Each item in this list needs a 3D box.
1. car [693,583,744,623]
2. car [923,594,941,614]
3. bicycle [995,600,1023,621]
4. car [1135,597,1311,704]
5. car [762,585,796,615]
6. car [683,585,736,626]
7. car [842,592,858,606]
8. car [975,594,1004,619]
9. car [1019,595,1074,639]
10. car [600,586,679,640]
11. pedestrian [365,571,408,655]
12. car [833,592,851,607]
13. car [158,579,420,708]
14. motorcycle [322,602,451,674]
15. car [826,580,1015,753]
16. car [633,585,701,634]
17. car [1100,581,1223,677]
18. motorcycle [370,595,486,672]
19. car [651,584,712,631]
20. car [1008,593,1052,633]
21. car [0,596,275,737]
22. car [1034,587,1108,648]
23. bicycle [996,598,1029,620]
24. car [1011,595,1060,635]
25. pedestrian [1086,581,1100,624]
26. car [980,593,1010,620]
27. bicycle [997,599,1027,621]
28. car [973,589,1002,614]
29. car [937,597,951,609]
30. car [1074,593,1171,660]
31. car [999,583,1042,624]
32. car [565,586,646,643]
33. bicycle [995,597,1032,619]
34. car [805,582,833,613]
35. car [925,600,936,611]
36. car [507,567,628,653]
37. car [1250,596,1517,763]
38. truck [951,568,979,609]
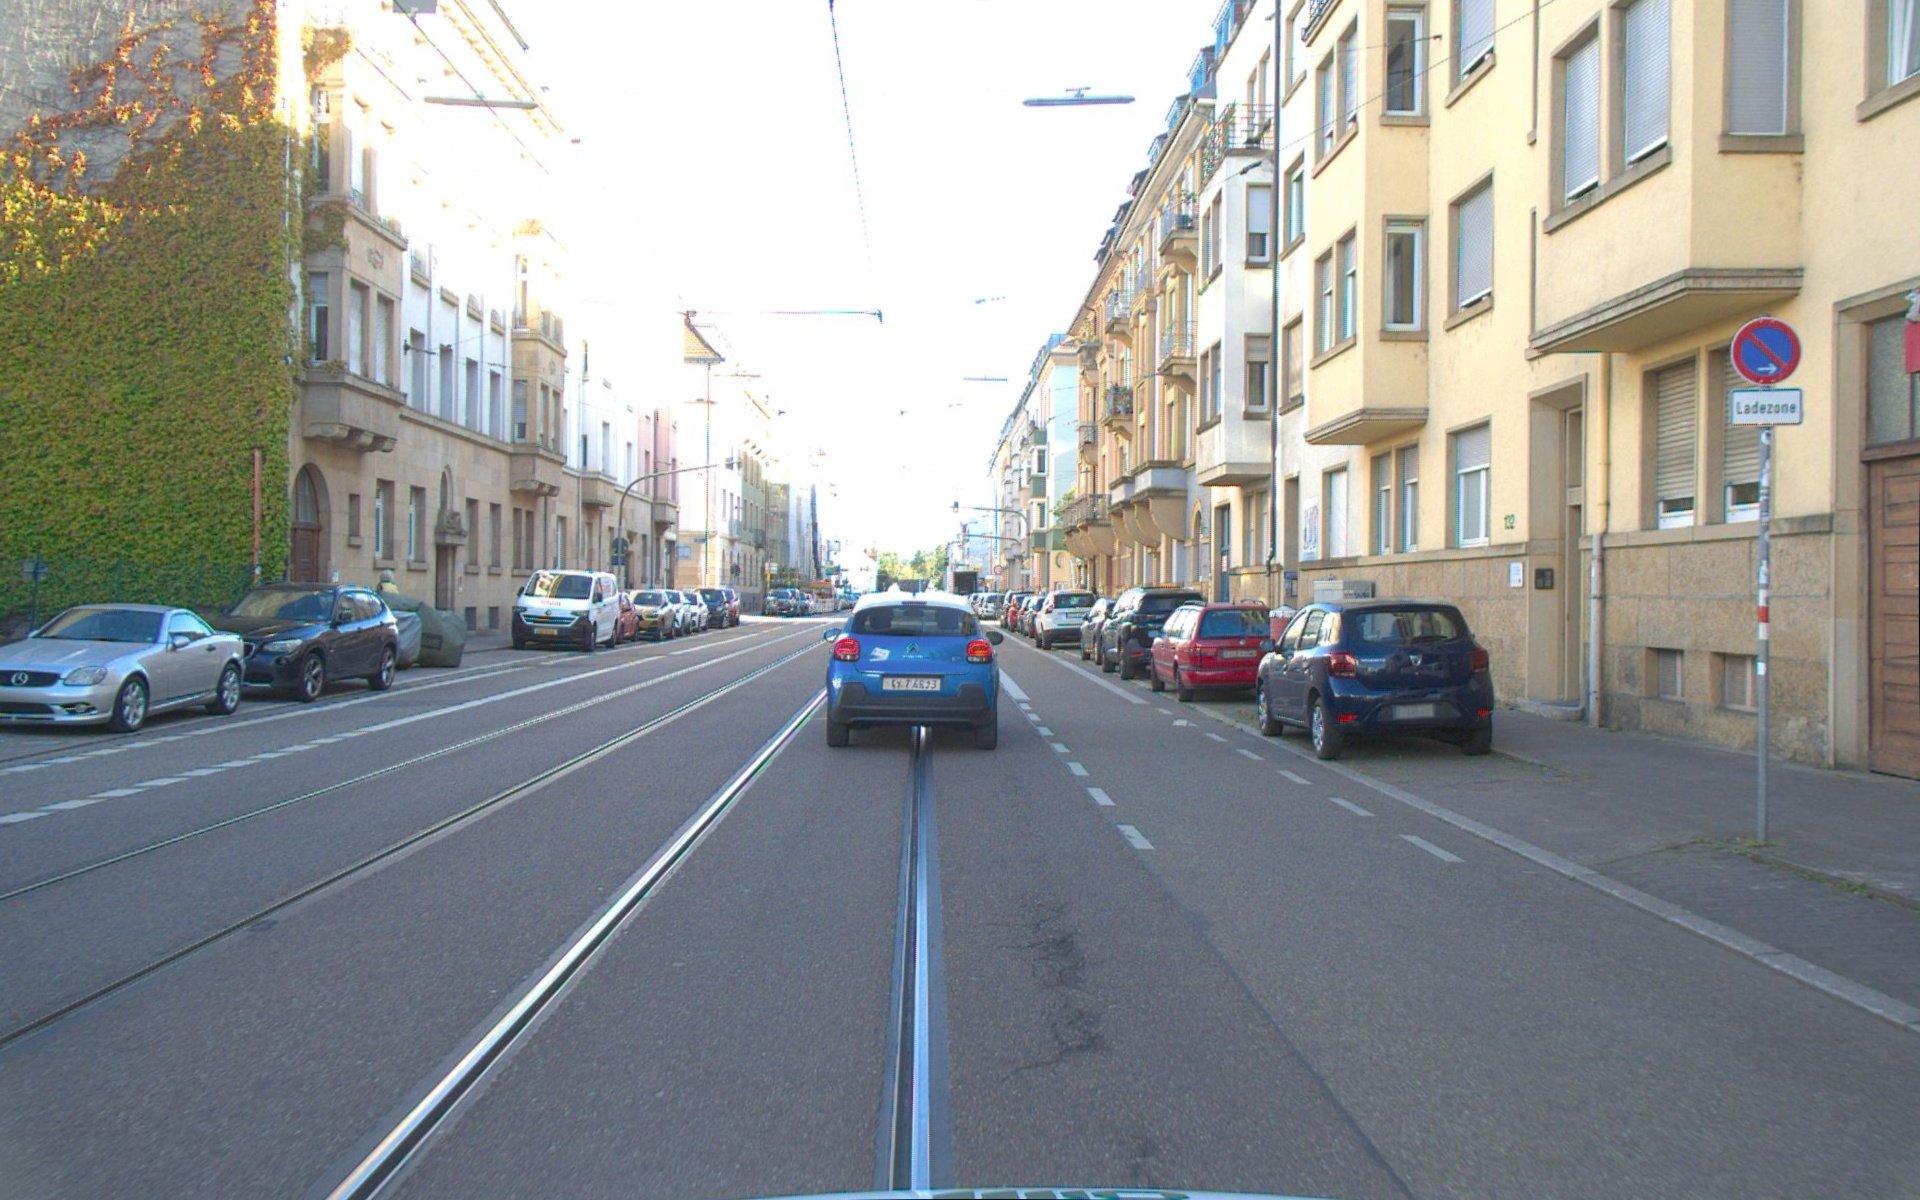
[{"bbox_3d":[-10.571,0.120,72.656,1.748,1.634,4.394,2,0,-3],"label":"car"},{"bbox_3d":[-2.834,0.376,167.289,1.784,1.927,3.999,1,0,-1],"label":"car"},{"bbox_3d":[2.975,0.615,100.460,1.688,1.174,0.469,-3,0,-1],"label":"bicycle"},{"bbox_3d":[3.966,0.713,25.711,1.822,1.481,4.707,0,0,-2],"label":"car"},{"bbox_3d":[-11.299,-0.013,103.506,1.748,1.720,4.665,2,0,-3],"label":"car"},{"bbox_3d":[-10.312,0.203,68.294,1.747,1.580,3.018,2,0,-1],"label":"car"},{"bbox_3d":[-13.607,-0.154,204.703,1.789,1.660,3.904,0,0,-1],"label":"car"},{"bbox_3d":[1.929,0.424,109.178,1.747,1.603,4.325,0,0,-1],"label":"car"},{"bbox_3d":[3.111,0.593,60.274,1.621,1.509,4.472,0,0,-2],"label":"car"},{"bbox_3d":[-10.026,0.386,52.035,1.747,1.550,4.358,2,0,-2],"label":"car"},{"bbox_3d":[-12.121,0.278,34.967,0.666,1.754,0.616,1,0,-1],"label":"pedestrian"},{"bbox_3d":[-13.161,-0.045,184.638,1.789,1.660,4.847,0,0,-1],"label":"car"},{"bbox_3d":[-9.416,0.554,23.650,1.746,1.592,4.611,2,0,1],"label":"car"},{"bbox_3d":[-9.943,0.646,28.765,0.725,1.191,2.176,1,0,28],"label":"motorcycle"},{"bbox_3d":[-0.395,0.611,17.331,1.700,1.533,3.991,2,0,-1],"label":"car"},{"bbox_3d":[-10.168,0.311,57.645,1.736,1.574,4.363,2,0,-3],"label":"car"},{"bbox_3d":[3.798,0.512,31.856,1.821,1.695,4.561,0,0,0],"label":"car"},{"bbox_3d":[-9.832,0.605,30.627,0.867,1.375,1.953,1,0,31],"label":"motorcycle"},{"bbox_3d":[-10.548,0.262,62.913,1.748,1.650,4.177,2,0,-3],"label":"car"},{"bbox_3d":[2.931,0.513,69.887,1.717,1.622,3.729,0,0,0],"label":"car"},{"bbox_3d":[-9.477,0.660,18.673,1.747,1.337,4.220,2,0,-1],"label":"car"},{"bbox_3d":[3.212,0.485,48.674,1.805,1.720,4.504,0,0,-1],"label":"car"},{"bbox_3d":[3.056,0.546,96.474,1.805,1.174,0.469,-3,0,-1],"label":"bicycle"},{"bbox_3d":[2.952,0.562,65.317,1.621,1.539,4.473,0,0,-1],"label":"car"},{"bbox_3d":[5.256,0.099,65.289,0.502,1.716,0.447,0,0,-2],"label":"pedestrian"},{"bbox_3d":[2.199,0.384,103.662,1.747,1.660,3.999,0,0,-1],"label":"car"},{"bbox_3d":[3.050,0.602,97.711,1.688,1.174,0.469,-3,0,-1],"label":"bicycle"},{"bbox_3d":[1.998,0.104,120.306,1.623,1.782,4.598,0,0,-5],"label":"car"},{"bbox_3d":[-2.022,0.345,207.583,1.729,1.513,4.031,0,0,-1],"label":"car"},{"bbox_3d":[3.696,0.573,38.179,1.702,1.467,4.031,0,0,-2],"label":"car"},{"bbox_3d":[2.769,0.160,76.576,1.718,1.766,4.506,-3,0,-1],"label":"car"},{"bbox_3d":[-10.161,0.399,47.633,1.570,1.498,3.645,2,0,-1],"label":"car"},{"bbox_3d":[3.088,0.472,95.749,2.044,1.174,0.848,-2,0,-1],"label":"bicycle"},{"bbox_3d":[-11.802,-0.230,138.346,2.102,2.518,4.977,2,0,-3],"label":"car"},{"bbox_3d":[-4.607,0.825,260.143,1.789,1.660,4.489,0,0,-1],"label":"car"},{"bbox_3d":[-9.894,0.231,42.137,1.933,1.982,5.250,2,0,-2],"label":"car"},{"bbox_3d":[4.262,0.725,17.264,1.683,1.517,4.001,-1,0,-1],"label":"car"},{"bbox_3d":[0.502,-1.157,174.488,2.795,4.154,11.270,0,0,0],"label":"truck"}]
